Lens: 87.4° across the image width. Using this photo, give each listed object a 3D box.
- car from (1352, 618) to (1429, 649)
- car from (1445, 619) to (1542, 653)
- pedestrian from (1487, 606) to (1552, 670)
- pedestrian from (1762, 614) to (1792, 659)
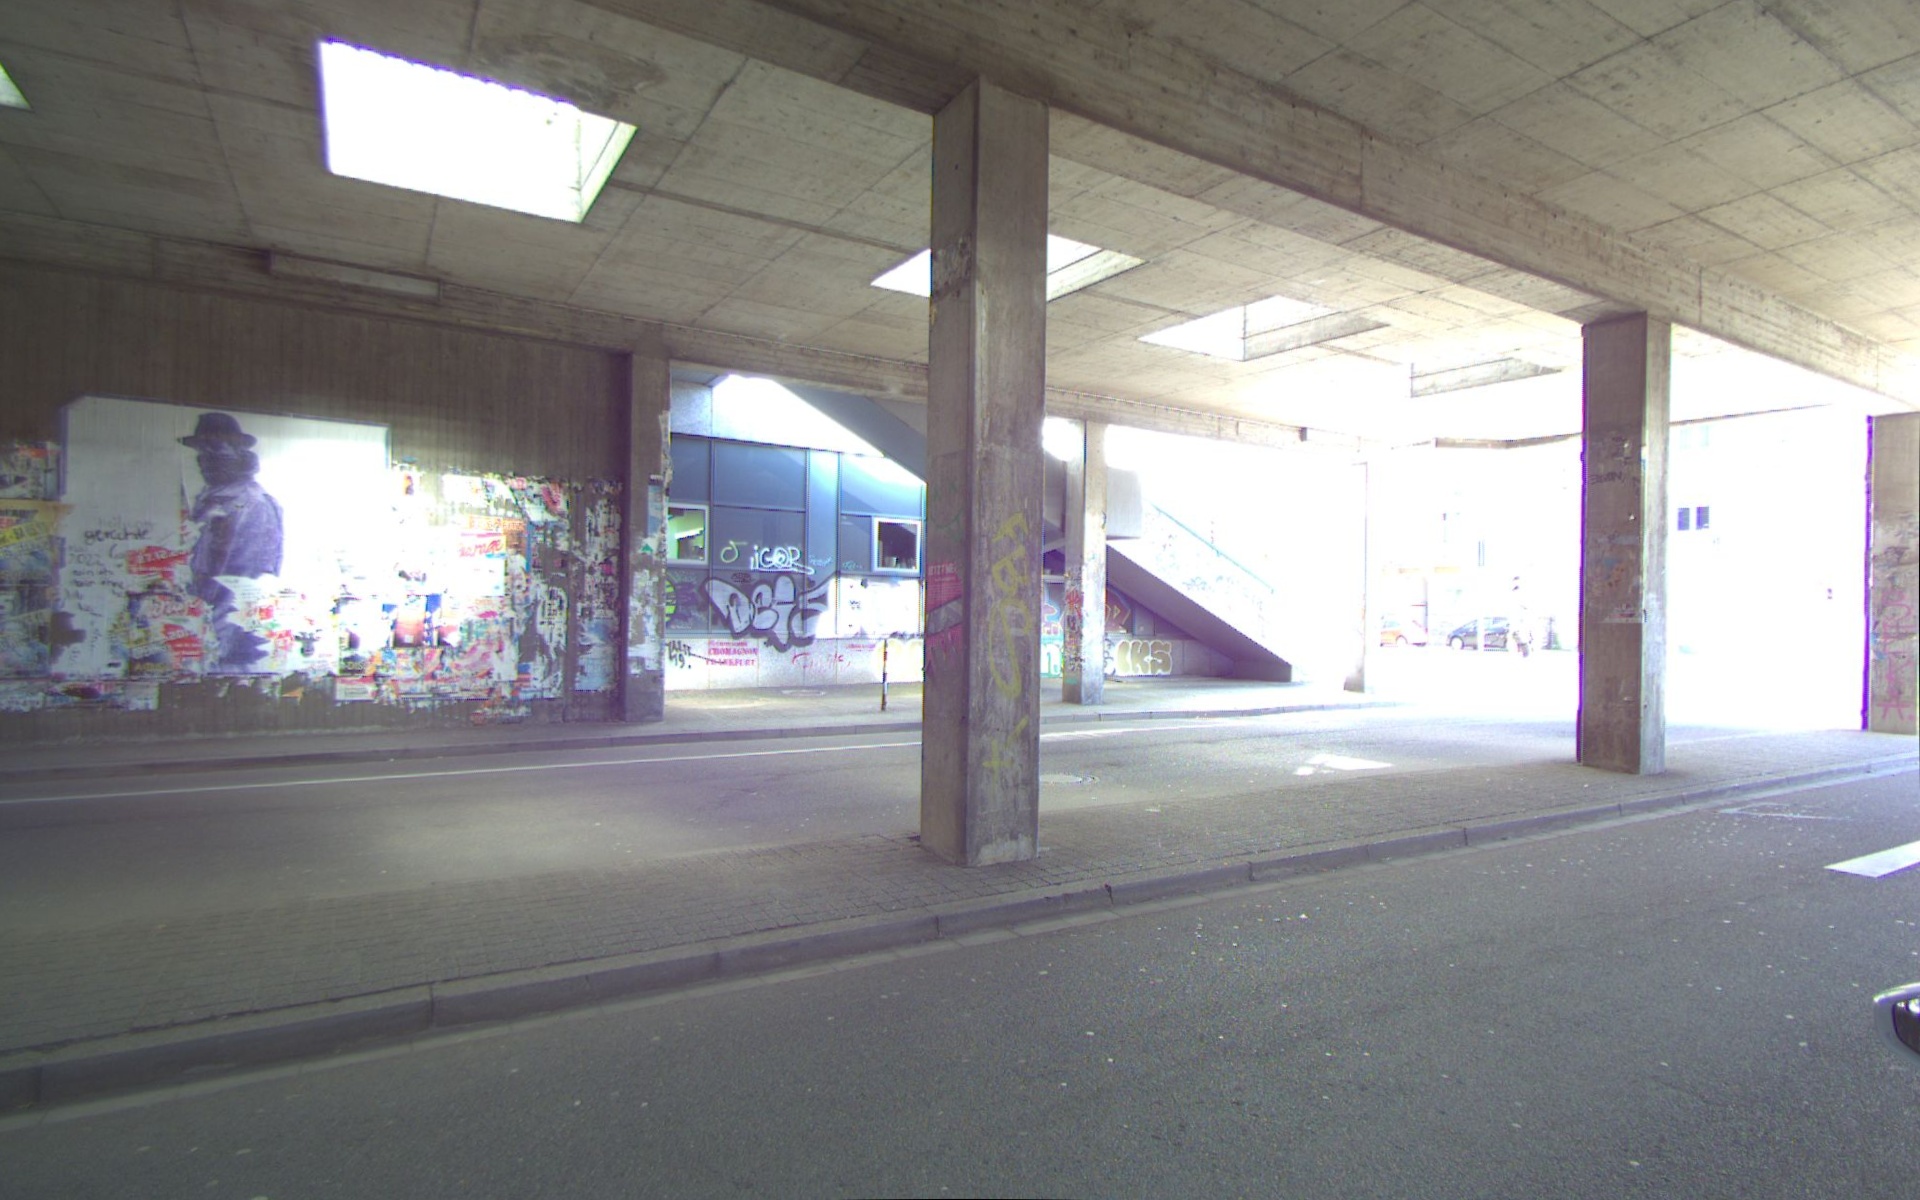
[{"bbox_3d":[22.446,1.718,52.446,1.543,1.526,3.518,1,-1,-29],"label":"car"},{"bbox_3d":[25.336,1.671,47.833,1.732,1.528,3.735,1,-1,-31],"label":"car"},{"bbox_3d":[15.727,1.066,28.255,1.123,1.760,1.111,1,-1,-17],"label":"pedestrian"},{"bbox_3d":[32.218,1.430,39.626,0.618,1.727,0.716,2,0,-33],"label":"pedestrian"}]
